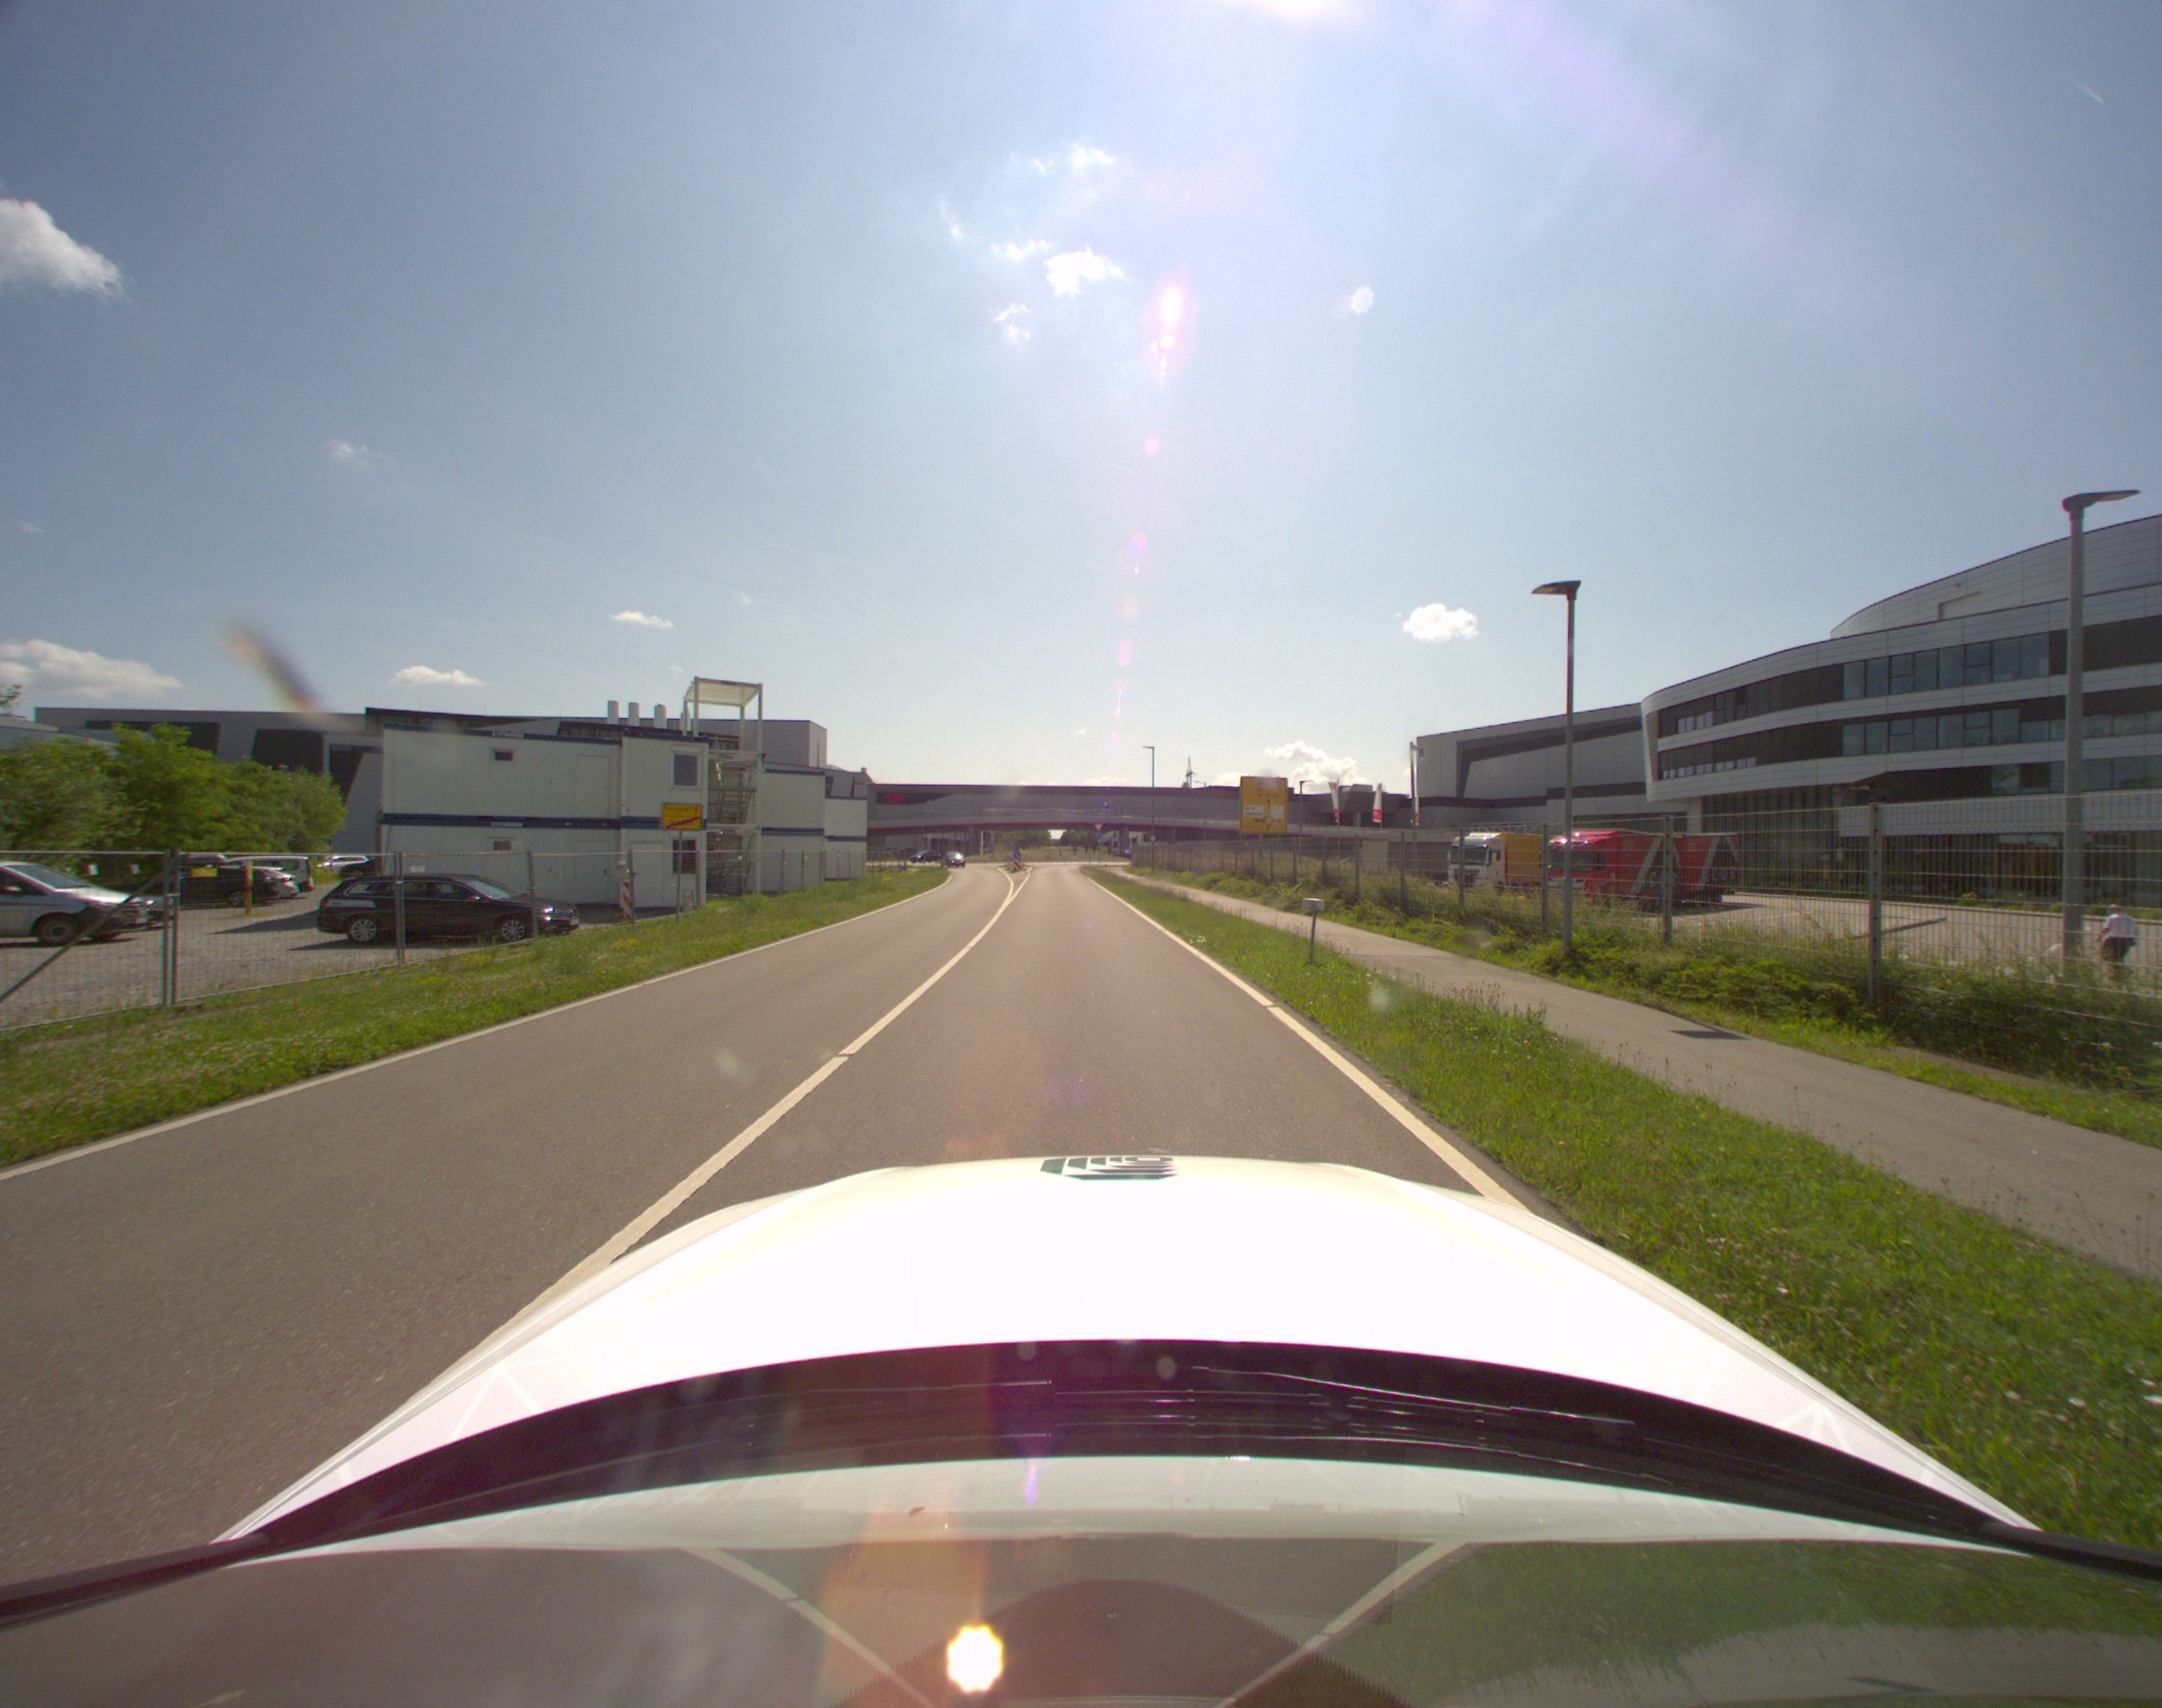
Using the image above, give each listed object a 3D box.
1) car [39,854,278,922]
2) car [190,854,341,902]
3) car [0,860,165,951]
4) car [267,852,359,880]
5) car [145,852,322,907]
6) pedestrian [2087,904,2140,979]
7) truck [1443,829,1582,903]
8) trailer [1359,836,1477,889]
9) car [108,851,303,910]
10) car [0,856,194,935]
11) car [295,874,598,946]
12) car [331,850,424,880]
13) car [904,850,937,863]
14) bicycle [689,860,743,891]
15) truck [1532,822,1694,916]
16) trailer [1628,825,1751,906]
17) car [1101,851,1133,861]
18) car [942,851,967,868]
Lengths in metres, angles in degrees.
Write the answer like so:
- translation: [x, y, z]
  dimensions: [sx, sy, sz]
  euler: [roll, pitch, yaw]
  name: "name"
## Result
- translation: [-27.595, 0.974, 24.616]
  dimensions: [4.328, 1.866, 1.980]
  euler: [1, 0, -32]
  name: "car"
- translation: [-33.760, 0.955, 33.925]
  dimensions: [4.337, 1.866, 1.976]
  euler: [1, 0, -42]
  name: "car"
- translation: [-23.875, 1.088, 17.581]
  dimensions: [5.038, 1.866, 1.980]
  euler: [1, 0, -32]
  name: "car"
- translation: [-52.200, 0.815, 55.470]
  dimensions: [4.334, 1.866, 1.977]
  euler: [1, 0, -38]
  name: "car"
- translation: [-32.443, 0.941, 31.388]
  dimensions: [4.328, 1.948, 1.980]
  euler: [1, 0, -32]
  name: "car"
- translation: [23.420, 1.971, 18.477]
  dimensions: [0.481, 1.653, 0.574]
  euler: [1, 0, 1]
  name: "pedestrian"
- translation: [26.743, 0.671, 50.178]
  dimensions: [11.019, 4.172, 2.792]
  euler: [-1, -1, -35]
  name: "truck"
- translation: [30.270, 0.675, 72.615]
  dimensions: [14.124, 4.438, 2.736]
  euler: [-1, -1, -36]
  name: "trailer"
- translation: [-31.165, 0.915, 29.213]
  dimensions: [4.328, 1.948, 1.980]
  euler: [1, 0, -32]
  name: "car"
- translation: [-25.912, 1.003, 20.566]
  dimensions: [4.328, 1.866, 1.980]
  euler: [1, 0, -32]
  name: "car"
- translation: [-14.006, 1.196, 18.333]
  dimensions: [4.972, 1.417, 1.992]
  euler: [0, 0, -12]
  name: "car"
- translation: [-44.651, 0.680, 51.817]
  dimensions: [4.334, 1.866, 1.977]
  euler: [1, 0, -38]
  name: "car"
- translation: [-20.190, 0.310, 102.625]
  dimensions: [1.975, 1.584, 4.024]
  euler: [-1, -1, 27]
  name: "car"
- translation: [-15.726, 0.916, 35.071]
  dimensions: [2.054, 1.301, 0.602]
  euler: [0, -1, -32]
  name: "bicycle"
- translation: [26.997, 0.648, 41.029]
  dimensions: [11.021, 4.256, 2.996]
  euler: [0, -1, -36]
  name: "truck"
- translation: [35.026, 0.592, 46.740]
  dimensions: [8.752, 4.296, 2.996]
  euler: [0, -1, -35]
  name: "trailer"
- translation: [4.904, 0.263, 110.136]
  dimensions: [3.950, 1.387, 2.012]
  euler: [-1, -1, 44]
  name: "car"
- translation: [-12.157, 0.533, 77.836]
  dimensions: [1.708, 1.482, 3.974]
  euler: [-1, 0, -19]
  name: "car"
